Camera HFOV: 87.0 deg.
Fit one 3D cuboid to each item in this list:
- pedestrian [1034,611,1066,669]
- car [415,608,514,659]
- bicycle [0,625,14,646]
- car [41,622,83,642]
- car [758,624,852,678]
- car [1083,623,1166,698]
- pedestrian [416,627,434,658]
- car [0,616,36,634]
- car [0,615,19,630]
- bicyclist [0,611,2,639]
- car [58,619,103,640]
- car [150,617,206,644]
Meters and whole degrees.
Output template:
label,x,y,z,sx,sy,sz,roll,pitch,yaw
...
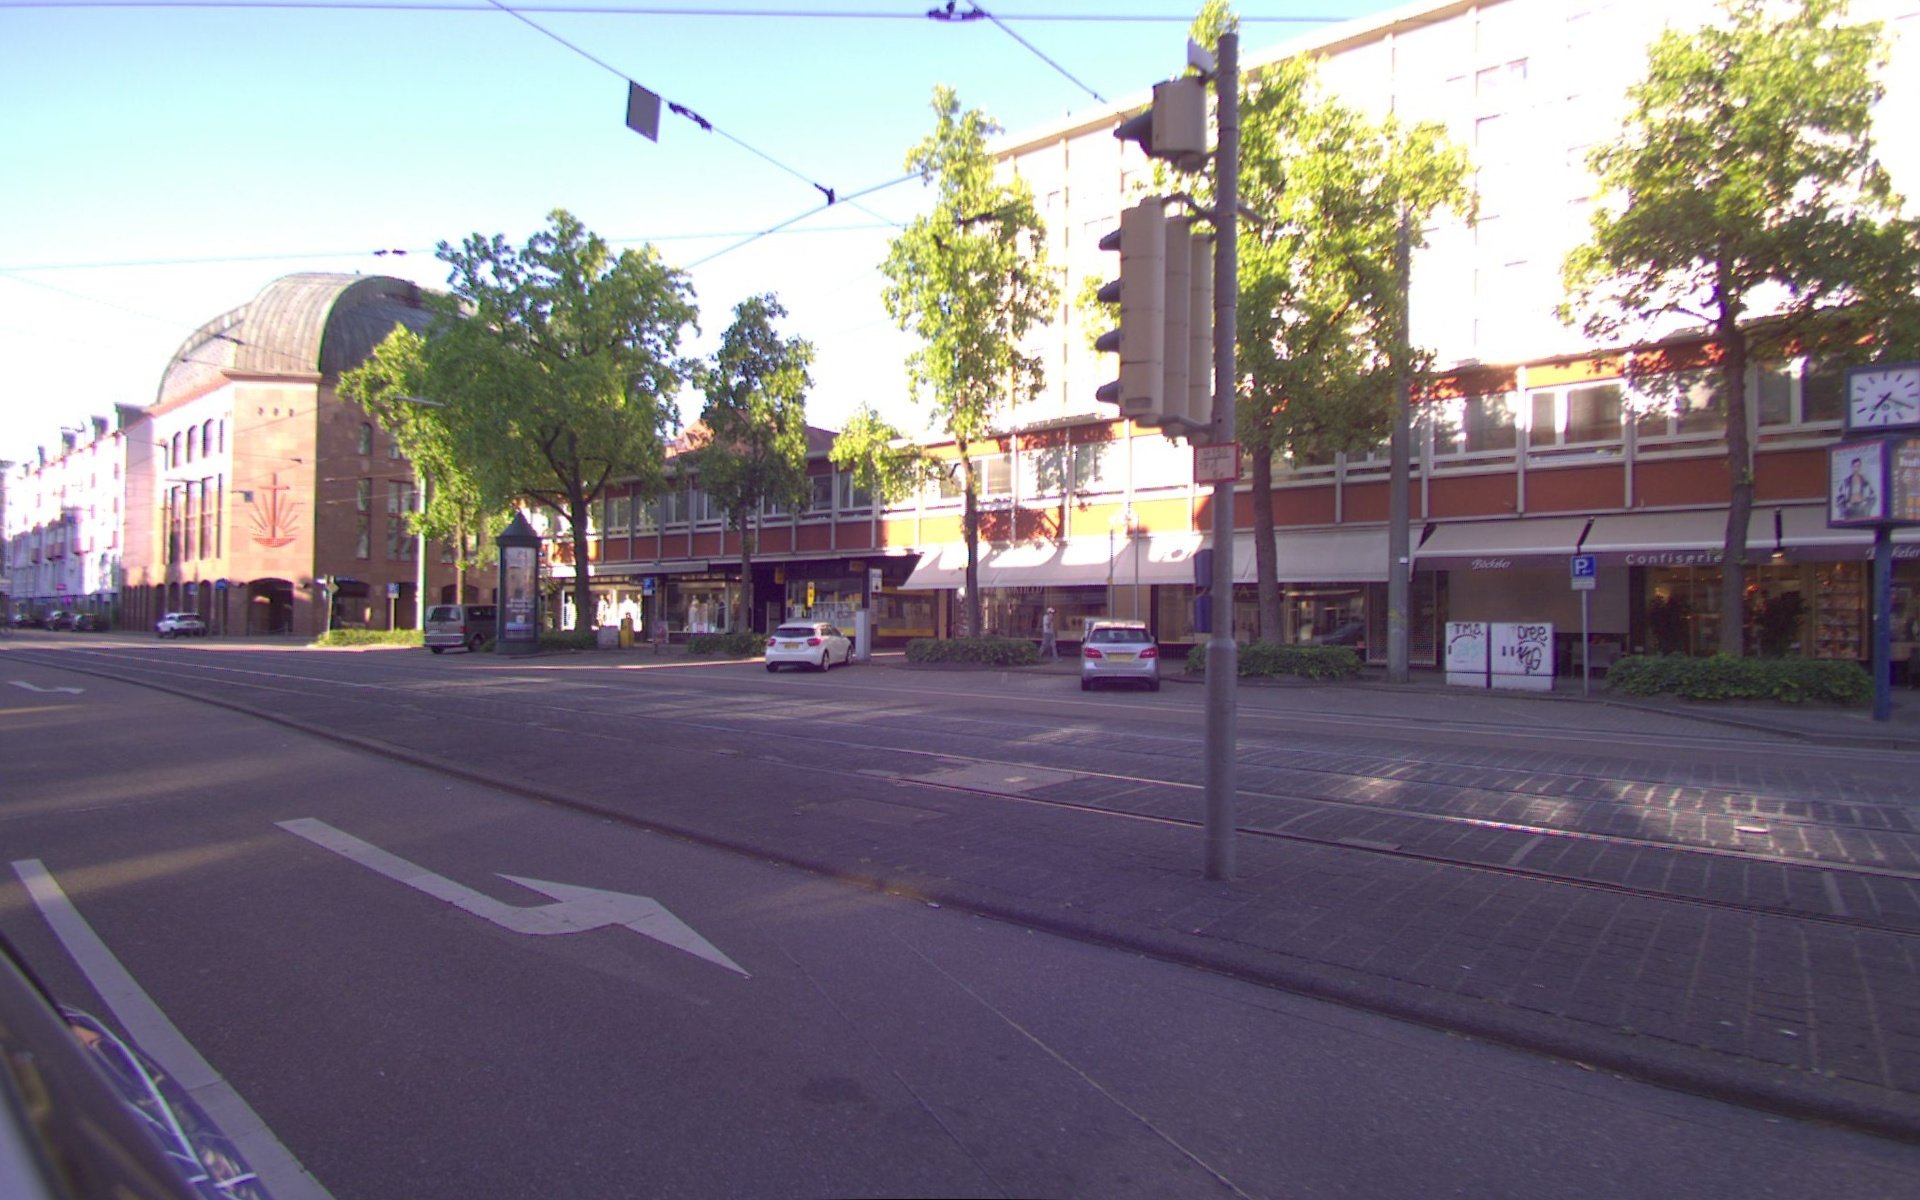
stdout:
label,x,y,z,sx,sy,sz,roll,pitch,yaw
pedestrian,2.853,1.263,32.149,0.626,1.782,0.770,2,-1,-35
car,-20.105,1.311,41.261,1.887,1.979,3.995,0,-1,4
bicycle,-50.752,1.849,52.792,2.005,1.100,0.674,1,-2,-10
car,-76.041,2.690,85.677,3.994,1.615,1.941,0,-1,37
car,-4.590,1.480,30.565,1.777,1.486,3.990,0,-1,8
car,3.811,1.340,23.870,1.777,1.566,3.990,0,-1,8
pedestrian,-31.187,2.488,59.002,0.548,1.761,0.780,-1,-3,42
car,-90.838,2.391,97.598,3.994,1.615,1.941,0,-1,37
car,-102.977,2.430,108.877,3.994,1.615,1.941,0,-1,37
bicyclist,-50.703,1.295,52.818,0.751,1.433,0.674,1,-2,-11
car,-70.988,2.350,81.669,3.994,1.615,1.941,0,-1,37
car,-49.975,1.916,64.682,3.994,1.615,1.887,0,-1,37
